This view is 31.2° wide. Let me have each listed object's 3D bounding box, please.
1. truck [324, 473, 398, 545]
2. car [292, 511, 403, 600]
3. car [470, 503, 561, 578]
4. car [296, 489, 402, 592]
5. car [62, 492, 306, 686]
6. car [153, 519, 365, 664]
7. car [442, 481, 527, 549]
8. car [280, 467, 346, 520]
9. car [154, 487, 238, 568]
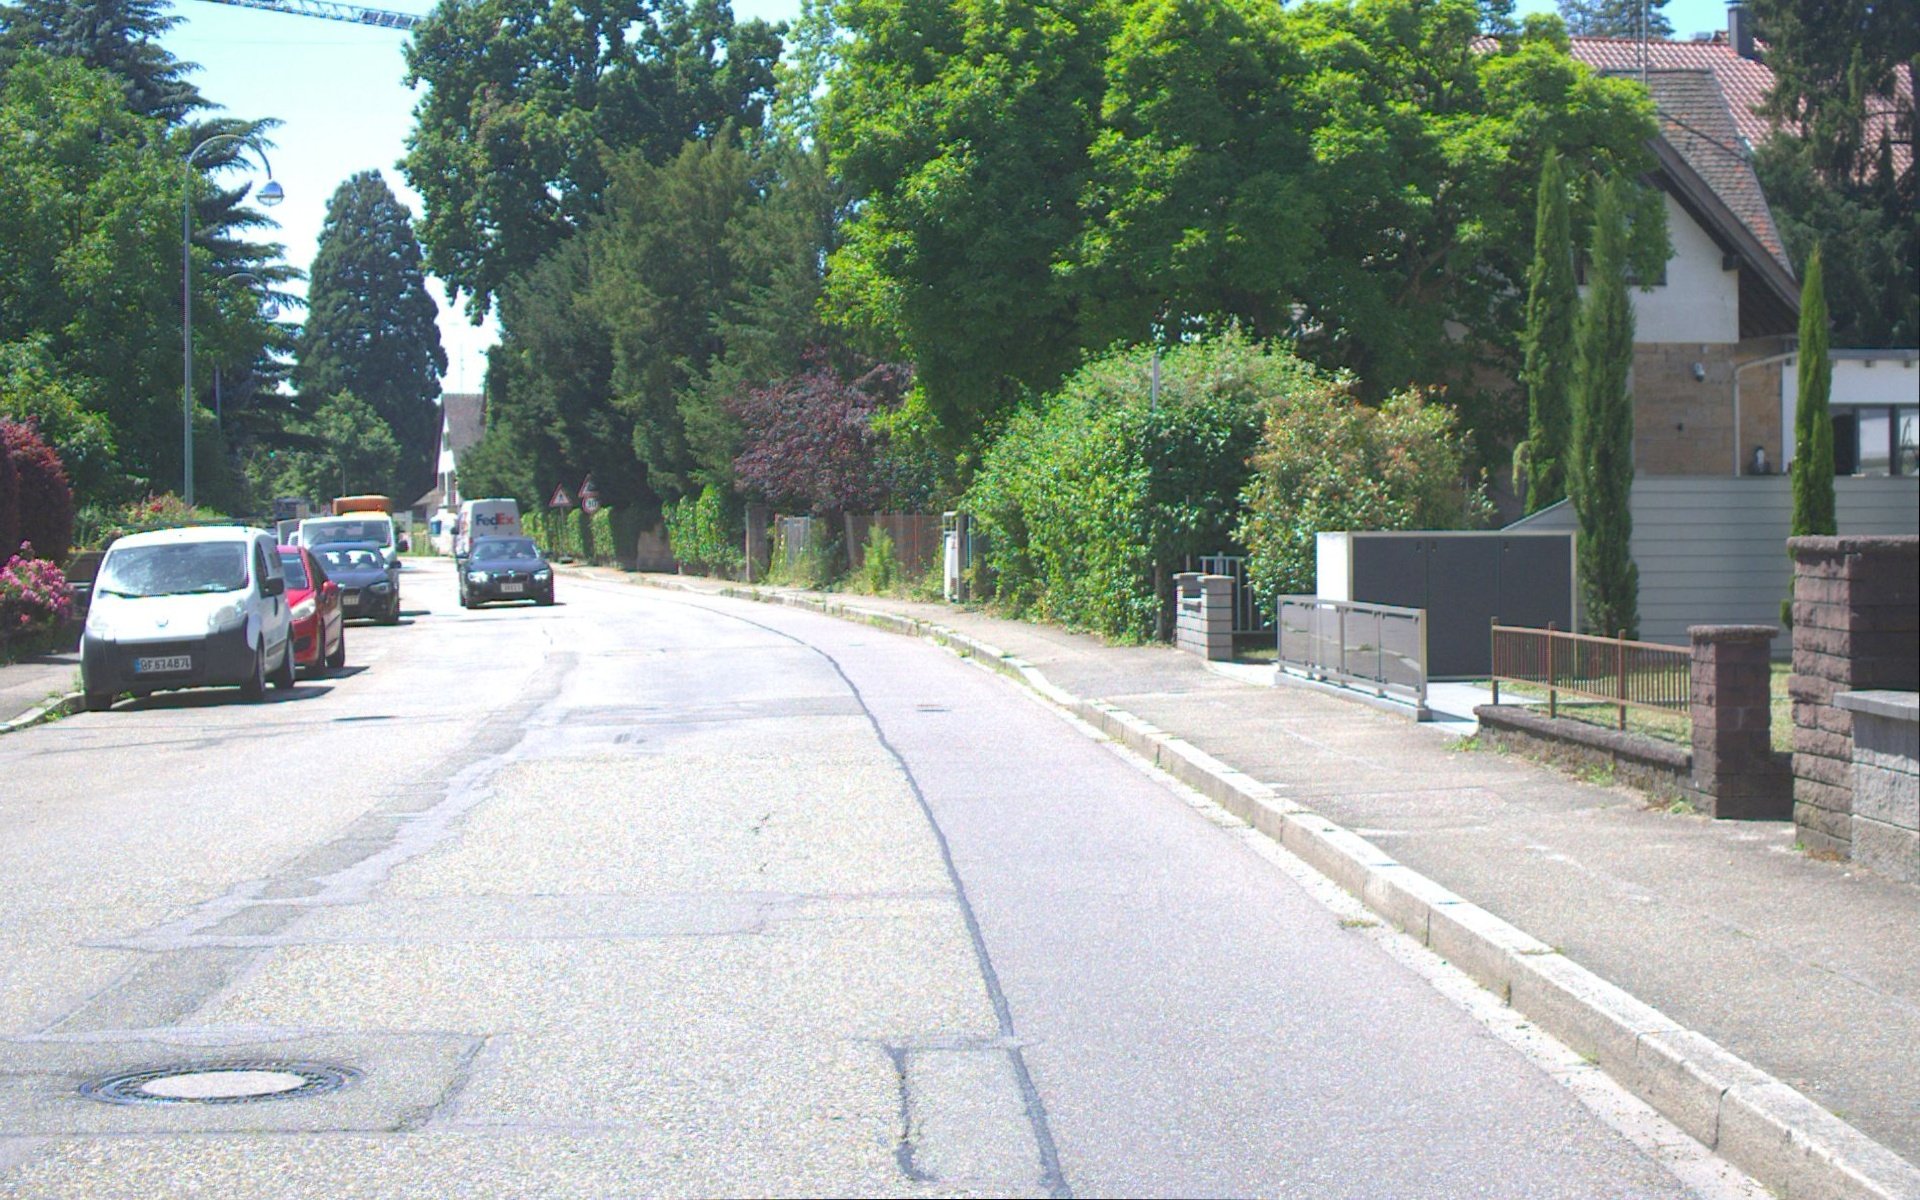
[{"bbox_3d":[-24.389,-3.693,139.751,2.372,2.820,5.660,-2,2,-15],"label":"truck"},{"bbox_3d":[-10.463,-0.795,58.917,1.698,1.379,4.237,-2,2,-8],"label":"car"},{"bbox_3d":[-9.006,-1.219,69.811,1.731,1.412,4.001,-2,1,-7],"label":"car"},{"bbox_3d":[-11.876,-1.192,66.876,1.886,1.875,4.982,-2,2,-10],"label":"car"},{"bbox_3d":[-7.659,-0.159,34.239,1.722,1.730,3.888,-3,2,-4],"label":"car"},{"bbox_3d":[-7.962,-0.136,39.352,1.760,1.472,4.059,-2,2,-3],"label":"car"},{"bbox_3d":[-17.033,-3.039,123.024,2.143,2.307,4.854,-3,2,-17],"label":"car"},{"bbox_3d":[-21.672,-3.553,115.035,1.850,1.665,4.714,-3,2,-14],"label":"car"},{"bbox_3d":[-17.519,-1.676,78.962,1.647,1.746,4.356,-2,2,-10],"label":"car"}]
